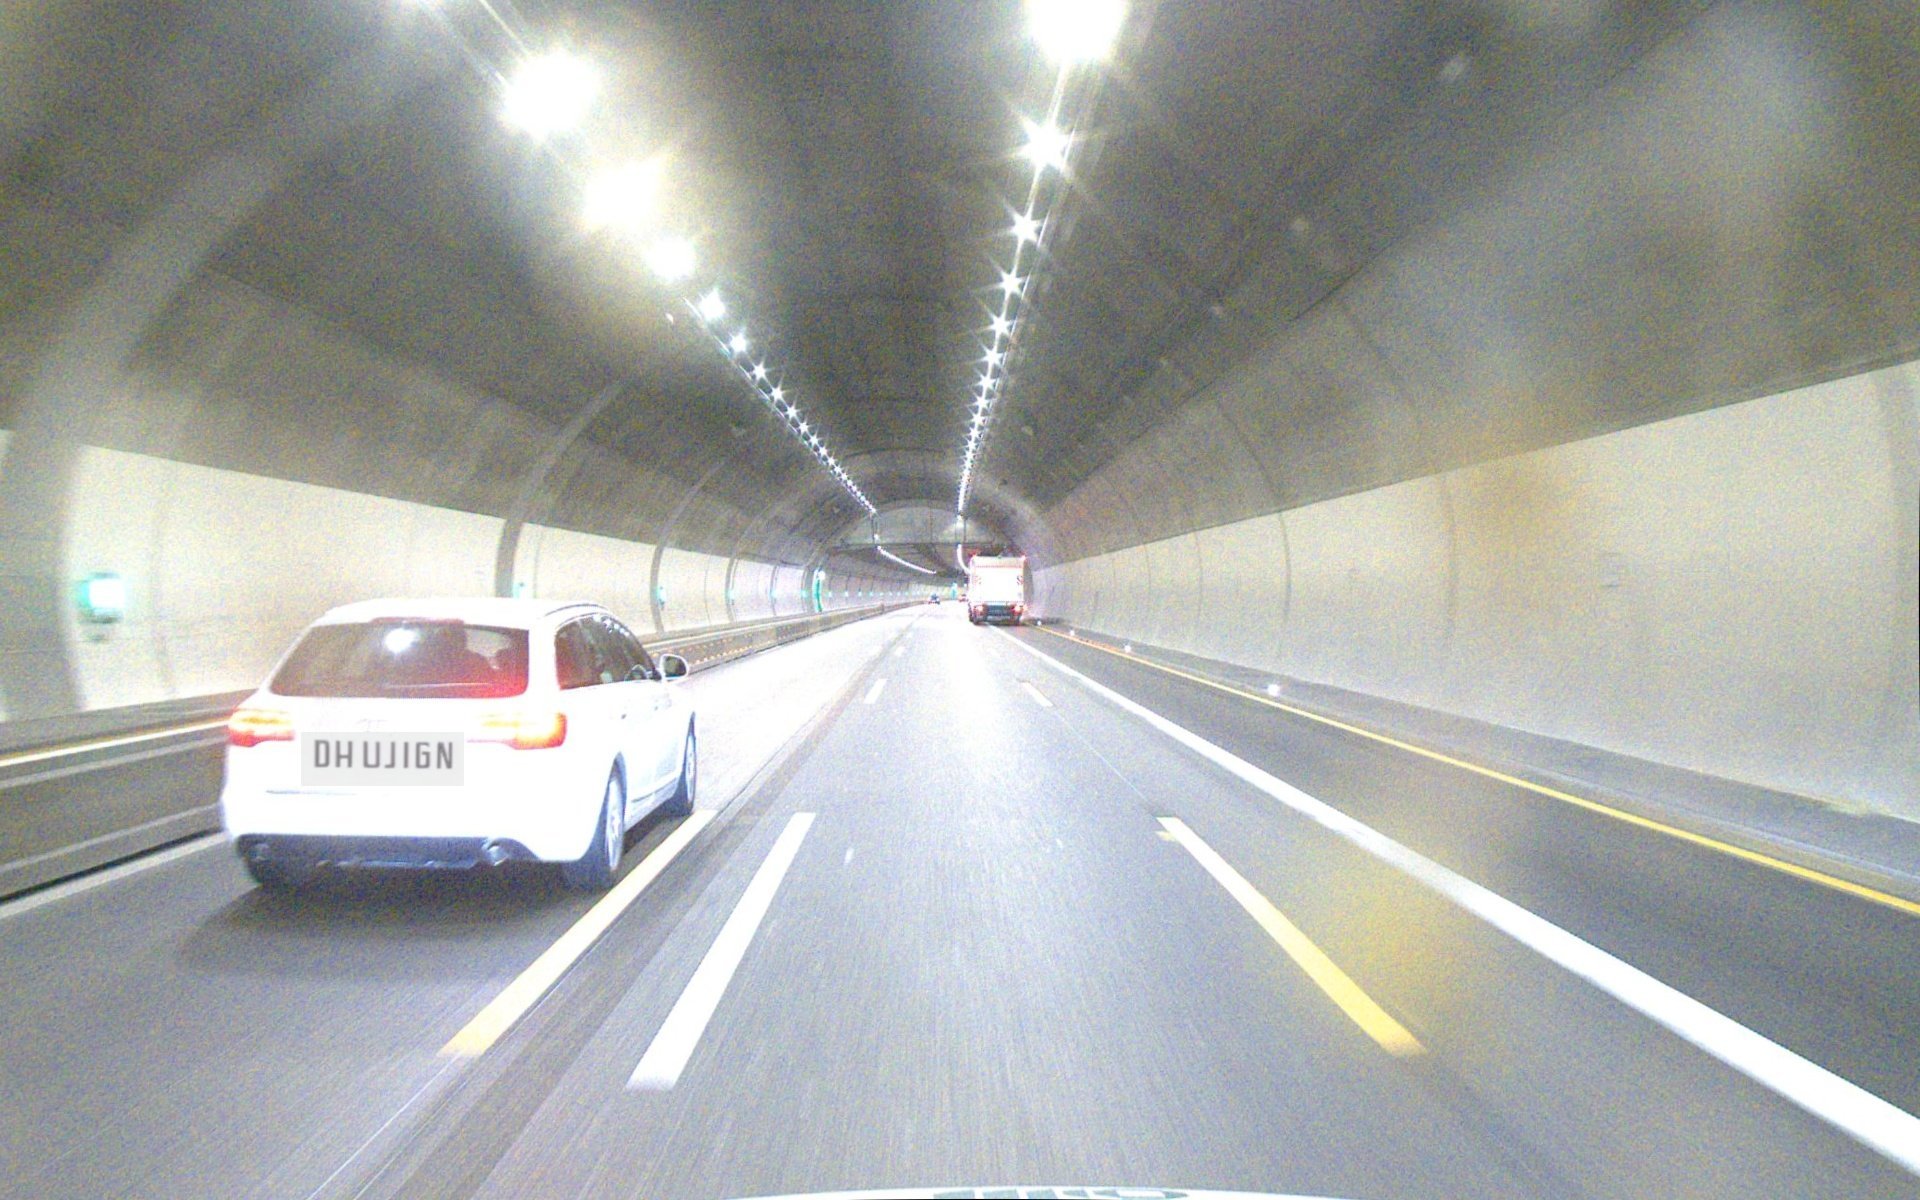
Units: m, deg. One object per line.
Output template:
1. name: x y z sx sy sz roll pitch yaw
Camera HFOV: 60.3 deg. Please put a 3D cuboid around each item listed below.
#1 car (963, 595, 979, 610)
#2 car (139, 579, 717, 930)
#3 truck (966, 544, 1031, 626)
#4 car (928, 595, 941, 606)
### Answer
1. car: 1.210 0.276 176.700 1.703 1.486 3.961 -2 1 1
2. car: -2.663 0.677 9.637 1.865 1.511 4.942 0 0 -2
3. truck: 1.912 -0.705 87.167 3.029 3.986 10.366 -1 -1 0
4. car: -3.600 0.084 231.113 1.723 1.486 4.118 -2 1 0
